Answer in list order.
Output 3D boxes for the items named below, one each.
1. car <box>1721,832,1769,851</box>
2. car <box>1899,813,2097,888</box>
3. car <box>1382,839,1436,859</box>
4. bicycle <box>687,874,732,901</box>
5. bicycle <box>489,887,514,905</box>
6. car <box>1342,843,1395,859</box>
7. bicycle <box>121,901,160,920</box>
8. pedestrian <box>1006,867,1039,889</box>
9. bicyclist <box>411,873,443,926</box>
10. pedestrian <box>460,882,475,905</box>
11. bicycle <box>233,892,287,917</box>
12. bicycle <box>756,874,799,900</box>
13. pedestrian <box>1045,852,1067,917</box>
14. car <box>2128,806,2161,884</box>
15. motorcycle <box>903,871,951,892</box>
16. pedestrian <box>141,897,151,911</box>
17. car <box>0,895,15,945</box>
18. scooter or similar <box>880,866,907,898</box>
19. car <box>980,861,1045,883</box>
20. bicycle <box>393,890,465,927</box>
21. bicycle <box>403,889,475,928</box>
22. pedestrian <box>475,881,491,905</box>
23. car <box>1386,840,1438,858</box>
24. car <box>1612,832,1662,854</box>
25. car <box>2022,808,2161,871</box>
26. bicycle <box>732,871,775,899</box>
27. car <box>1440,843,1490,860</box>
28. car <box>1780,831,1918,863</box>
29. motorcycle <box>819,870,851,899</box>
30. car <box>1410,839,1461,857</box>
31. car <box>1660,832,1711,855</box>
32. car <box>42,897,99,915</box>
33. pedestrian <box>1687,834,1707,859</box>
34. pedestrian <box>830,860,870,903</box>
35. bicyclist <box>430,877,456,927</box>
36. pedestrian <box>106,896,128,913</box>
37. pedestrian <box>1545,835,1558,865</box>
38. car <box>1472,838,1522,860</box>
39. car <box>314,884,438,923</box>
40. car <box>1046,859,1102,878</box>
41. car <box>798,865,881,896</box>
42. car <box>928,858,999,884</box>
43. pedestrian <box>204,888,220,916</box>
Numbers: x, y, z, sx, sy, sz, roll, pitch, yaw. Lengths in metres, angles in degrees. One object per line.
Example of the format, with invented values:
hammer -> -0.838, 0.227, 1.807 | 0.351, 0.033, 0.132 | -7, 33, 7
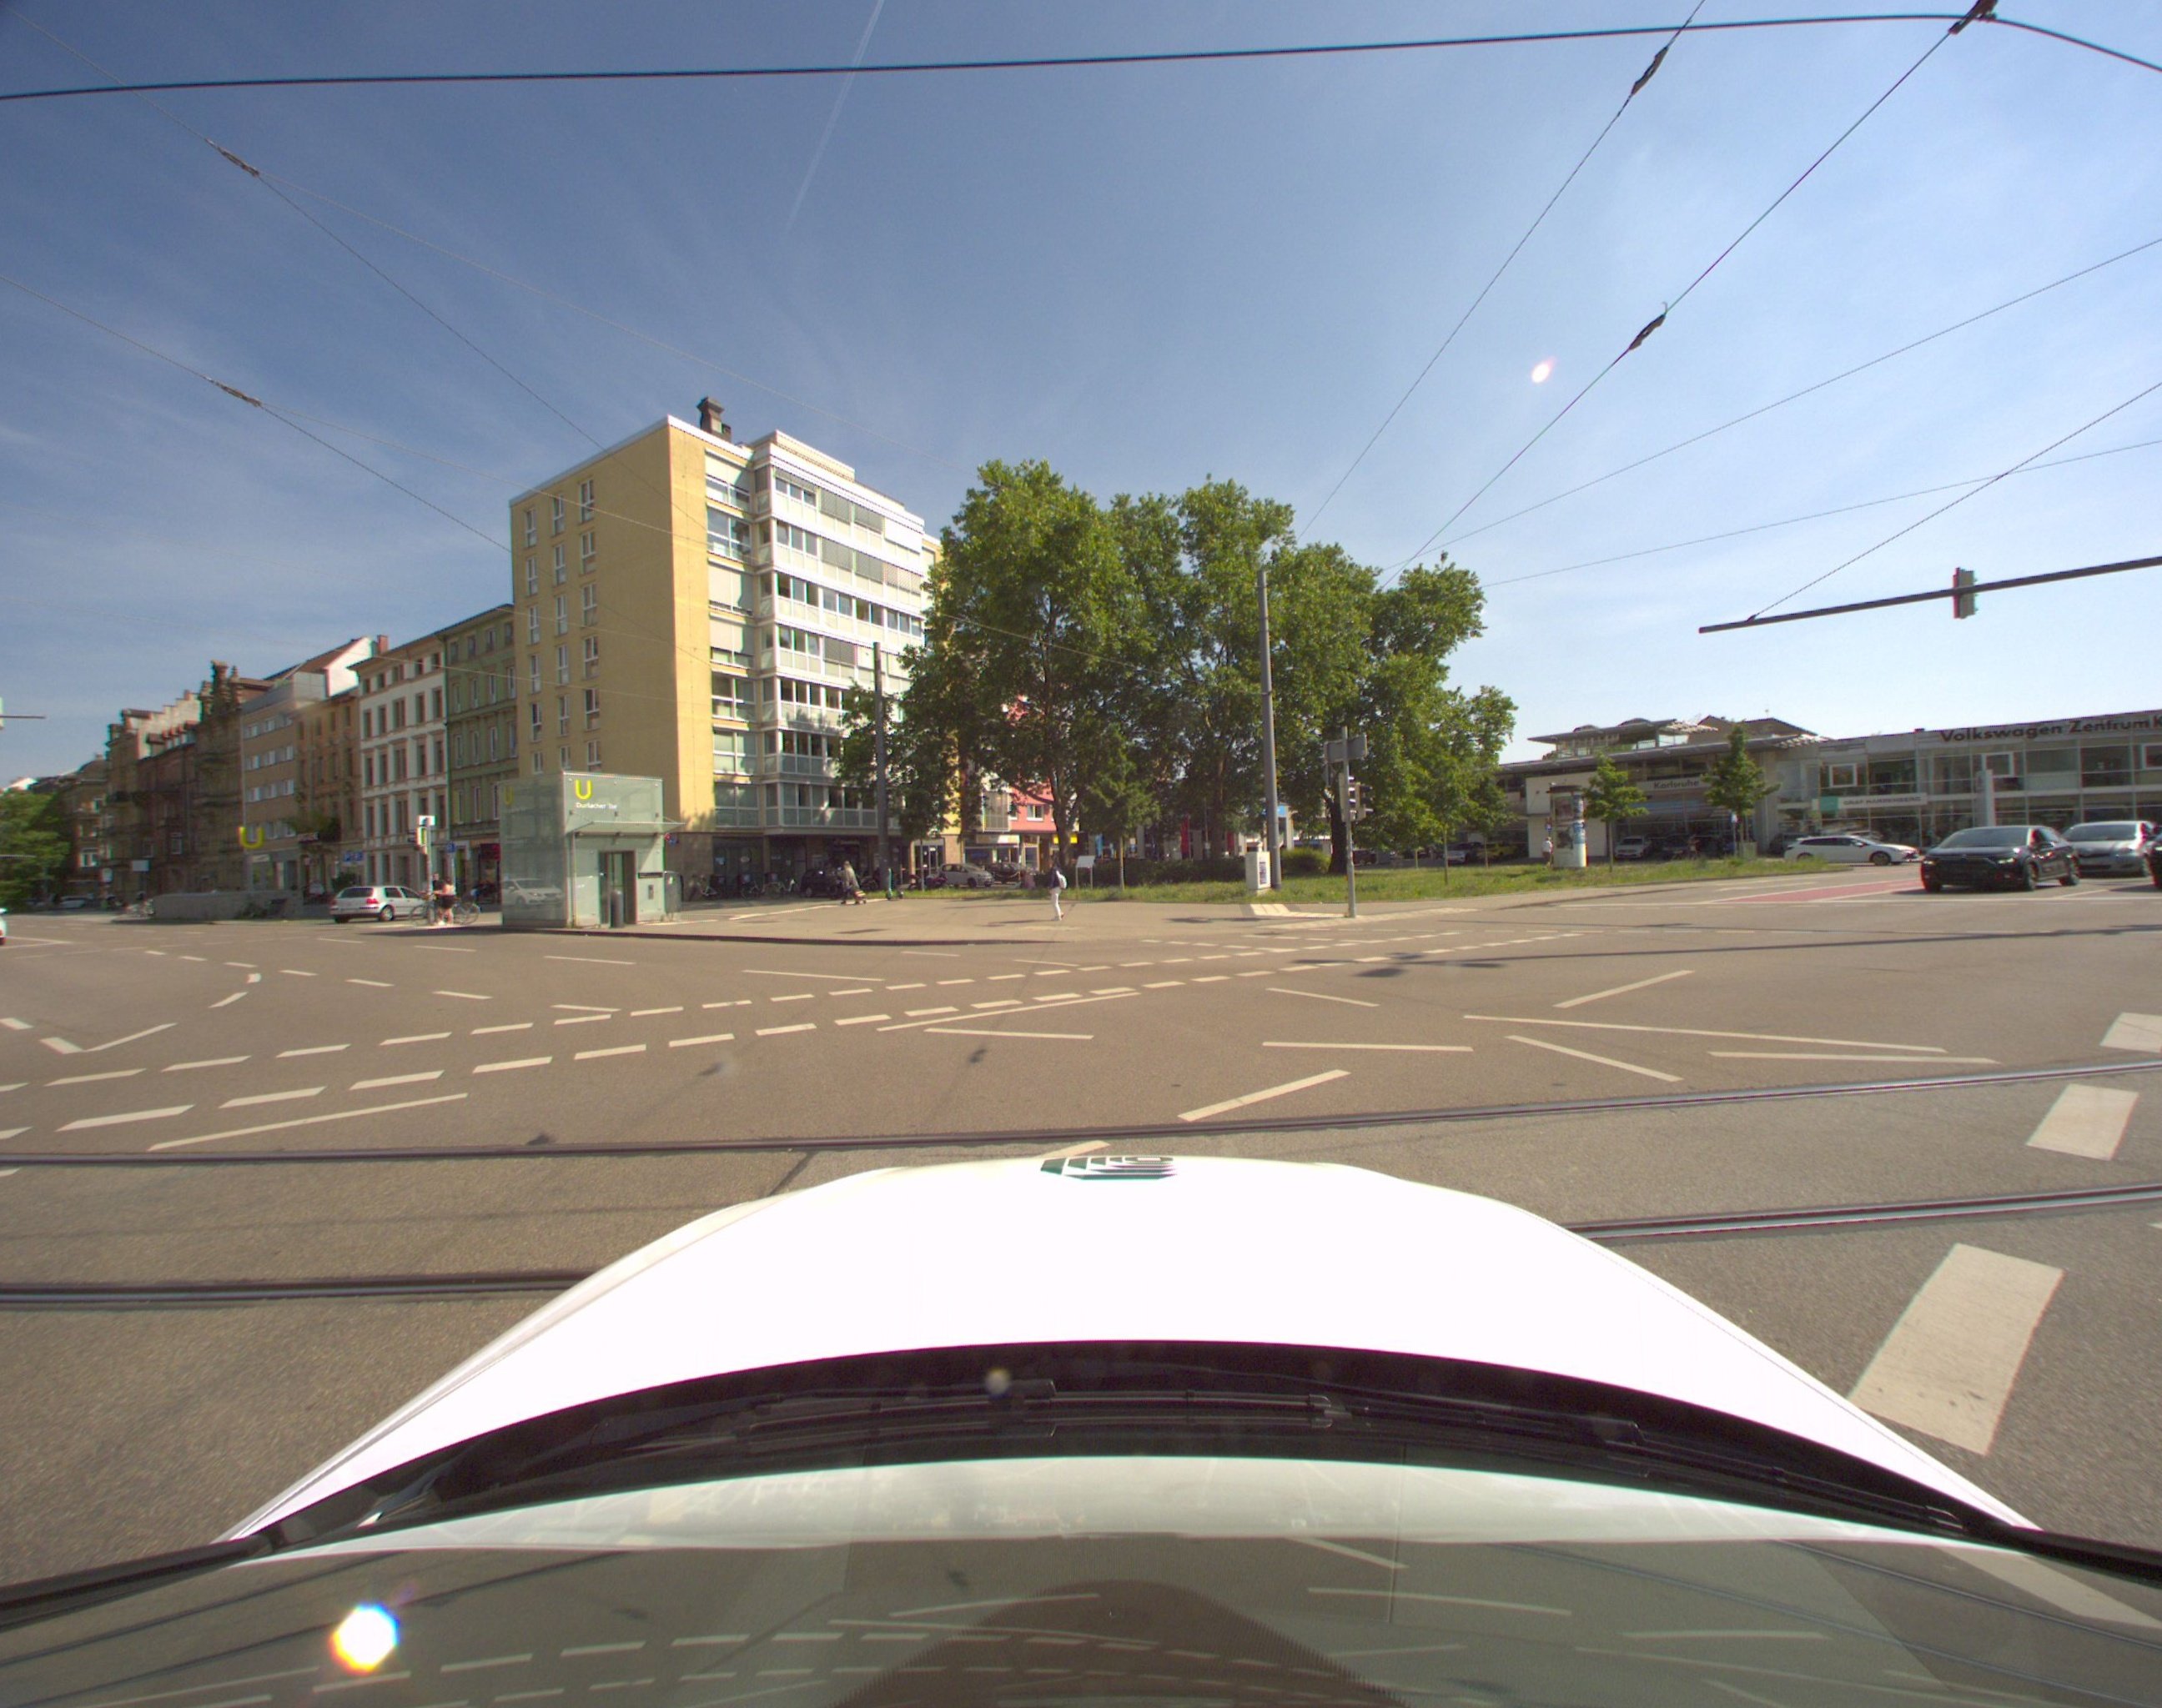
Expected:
car -> 41.788, -0.806, 51.224 | 4.022, 1.195, 1.814 | -1, 2, -43
car -> 21.619, -0.087, 19.196 | 4.216, 1.588, 1.882 | -2, -1, -24
car -> 29.430, -0.440, 73.078 | 2.011, 1.552, 3.951 | -2, 0, -43
bicycle -> -17.679, 1.600, 38.818 | 0.534, 1.186, 1.902 | -2, 0, 34
bicycle -> -32.995, 2.372, 46.335 | 1.757, 0.964, 0.417 | -3, 2, 30
car -> 25.657, -0.250, 72.776 | 2.011, 1.371, 3.952 | -1, 1, -42
bicycle -> -56.881, 3.407, 49.260 | 0.410, 0.976, 1.475 | 0, 1, 32
pedestrian -> -2.526, 1.051, 35.224 | 1.161, 0.892, 0.828 | -2, 0, 30
bicyclist -> -21.886, 1.514, 27.257 | 0.577, 1.735, 0.621 | -3, -2, 26
pedestrian -> -36.493, 2.342, 48.462 | 0.523, 1.354, 0.530 | -2, -1, 31
bicycle -> -40.018, 2.460, 39.703 | 0.589, 1.094, 1.759 | -2, 0, 32
bicycle -> -14.156, 1.531, 38.002 | 0.576, 1.086, 1.768 | -3, 0, 42
pedestrian -> -0.621, 0.760, 20.549 | 0.450, 1.605, 0.401 | 0, 1, 13
car -> 24.318, -0.280, 16.997 | 4.723, 1.587, 1.952 | -2, 0, -24
motorcycle -> -6.837, 1.213, 36.196 | 2.030, 0.842, 0.639 | -2, 0, -8
pedestrian -> -91.581, 4.893, 79.757 | 0.485, 1.407, 0.537 | 0, 1, 26
car -> -32.507, 1.982, 23.394 | 4.071, 1.397, 1.772 | -2, 3, 31
scooter or similar -> -6.833, 1.014, 29.655 | 0.519, 1.119, 1.351 | -2, 0, -31
car -> -4.462, 1.151, 52.803 | 3.948, 1.270, 1.755 | 0, 1, 32
bicycle -> -21.930, 1.821, 27.420 | 0.577, 1.130, 1.807 | -3, -1, 26
bicycle -> -20.800, 1.744, 26.403 | 1.806, 1.130, 0.745 | -1, -2, -41
pedestrian -> -35.165, 2.284, 47.900 | 0.638, 1.374, 0.530 | -2, -1, 31
car -> 30.733, -0.485, 75.682 | 2.011, 1.508, 3.951 | -2, 0, -43
car -> 38.240, -0.767, 55.992 | 4.022, 1.486, 1.976 | -1, 1, -43
car -> 28.001, -0.361, 22.272 | 4.005, 1.588, 1.885 | -1, -1, -24
bicycle -> -15.412, 1.455, 38.370 | 0.576, 1.219, 1.768 | -3, 0, 42
car -> 30.799, -0.240, 65.337 | 4.018, 1.244, 1.978 | -1, 1, -36
car -> 36.212, -0.336, 38.562 | 1.447, 1.436, 4.559 | -1, 1, -27
motorcycle -> -9.672, 1.182, 31.964 | 0.643, 1.062, 2.017 | -2, 0, -33
car -> 33.494, -0.568, 77.050 | 2.011, 1.508, 3.951 | -2, 0, -43
car -> 40.019, -0.724, 53.881 | 4.022, 1.486, 1.976 | -1, 1, -43
car -> -120.063, 6.156, 96.767 | 1.974, 1.749, 4.026 | 0, 1, 33
pedestrian -> 38.471, -0.480, 50.861 | 0.537, 1.580, 0.945 | -1, 1, -44
pedestrian -> -8.110, 0.951, 28.619 | 1.103, 1.403, 0.661 | 0, 7, 27
bicyclist -> -20.686, 1.536, 26.407 | 0.616, 1.572, 0.724 | -1, -2, -41
pedestrian -> -78.457, 4.095, 66.275 | 0.812, 1.325, 0.956 | -3, 0, 29
pedestrian -> 24.641, -0.216, 42.647 | 0.464, 1.595, 0.391 | 0, 1, -18
car -> 32.619, -0.442, 63.825 | 4.018, 1.684, 1.978 | -1, 1, -36
car -> -28.261, 1.966, 32.841 | 1.806, 1.440, 3.989 | -1, -2, -7
car -> -0.526, 1.050, 59.843 | 3.687, 1.340, 1.755 | 0, 1, 32
car -> -11.931, 1.340, 40.236 | 4.040, 1.471, 1.669 | -2, -3, 32
car -> -7.106, 1.020, 49.086 | 3.948, 1.440, 1.903 | 0, 1, 32
pedestrian -> -53.007, 2.950, 49.661 | 0.518, 1.665, 0.558 | -3, -1, 32
